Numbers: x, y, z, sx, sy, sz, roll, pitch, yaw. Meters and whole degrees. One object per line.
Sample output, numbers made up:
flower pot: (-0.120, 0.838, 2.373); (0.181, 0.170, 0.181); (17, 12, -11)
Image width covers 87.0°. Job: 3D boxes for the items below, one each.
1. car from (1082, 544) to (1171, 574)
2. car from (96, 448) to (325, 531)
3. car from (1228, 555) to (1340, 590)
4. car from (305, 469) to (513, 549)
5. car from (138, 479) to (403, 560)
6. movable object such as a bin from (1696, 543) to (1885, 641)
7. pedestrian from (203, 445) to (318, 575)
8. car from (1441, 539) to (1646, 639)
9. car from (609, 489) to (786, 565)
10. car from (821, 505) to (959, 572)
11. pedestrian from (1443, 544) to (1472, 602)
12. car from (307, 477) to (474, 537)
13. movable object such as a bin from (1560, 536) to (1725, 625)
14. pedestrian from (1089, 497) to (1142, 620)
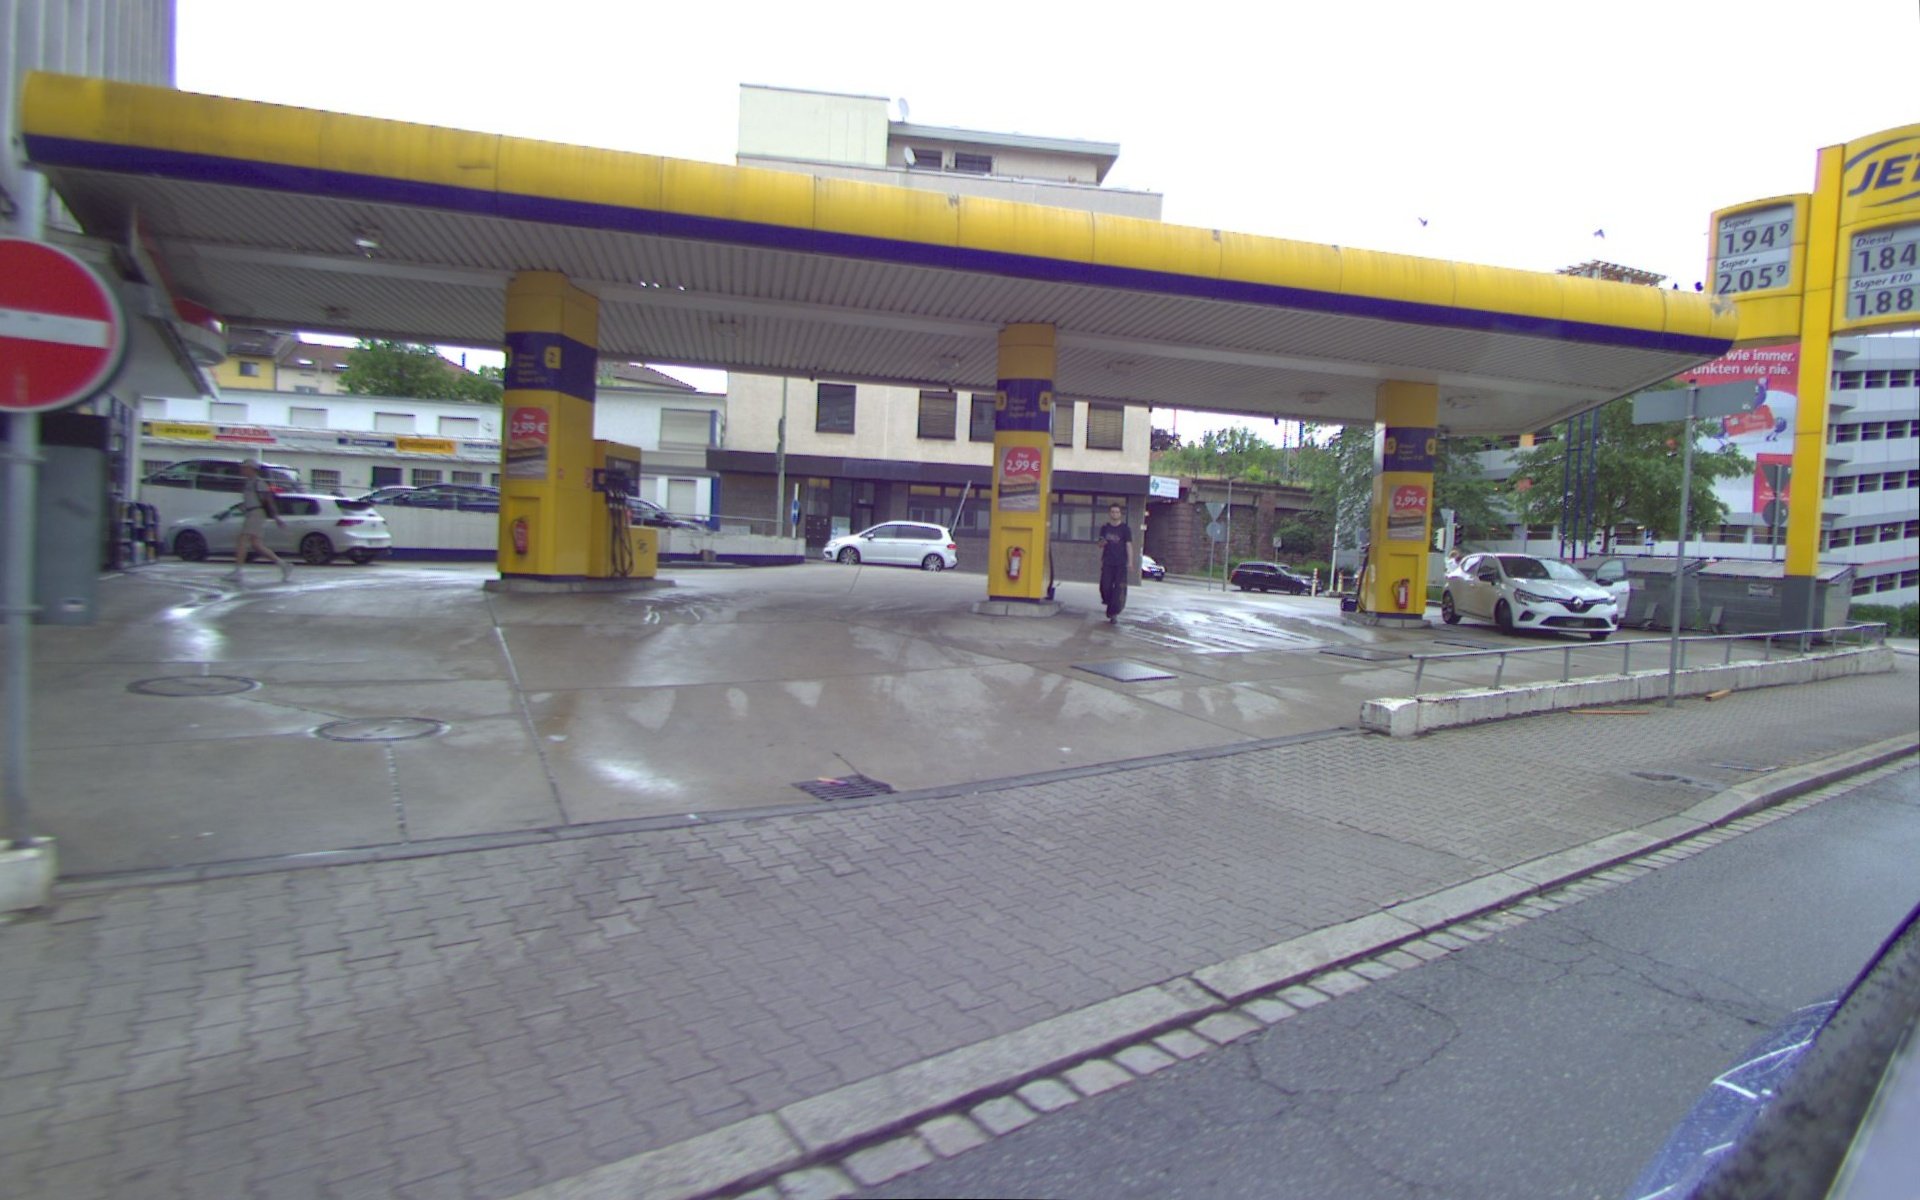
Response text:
car: (9.660, -2.369, 58.980); (1.965, 1.652, 5.033); (1, 1, -40)
car: (-19.849, -2.891, 26.985); (4.487, 1.888, 2.003); (1, 1, -6)
car: (16.162, -1.390, 50.693); (1.965, 1.652, 5.033); (1, 1, -40)
car: (-14.786, -2.421, 27.393); (4.487, 1.888, 2.003); (1, 1, -6)
car: (-14.560, -1.707, 21.547); (4.337, 1.534, 2.001); (1, 4, 2)
movable object such as a bin: (14.954, -0.177, 18.275); (1.739, 1.593, 2.164); (1, 3, -35)
pedestrian: (-10.229, -1.289, 14.810); (0.651, 1.818, 1.272); (6, 5, 43)
car: (10.275, -0.304, 18.210); (1.717, 1.459, 3.994); (3, 4, 8)
car: (-7.167, -1.979, 28.076); (4.487, 1.888, 2.003); (1, 1, -6)
car: (-2.364, -1.988, 33.438); (4.311, 1.748, 2.003); (5, 0, -7)
pedestrian: (13.378, -0.719, 27.209); (0.566, 1.534, 0.478); (2, 1, 14)
car: (-17.697, -2.869, 31.599); (4.123, 1.496, 1.809); (2, 0, -7)
movable object such as a bin: (13.585, -0.413, 20.199); (1.739, 1.574, 2.165); (1, 4, -35)
pedestrian: (2.358, -0.645, 15.352); (0.649, 1.792, 0.528); (4, 5, 12)
